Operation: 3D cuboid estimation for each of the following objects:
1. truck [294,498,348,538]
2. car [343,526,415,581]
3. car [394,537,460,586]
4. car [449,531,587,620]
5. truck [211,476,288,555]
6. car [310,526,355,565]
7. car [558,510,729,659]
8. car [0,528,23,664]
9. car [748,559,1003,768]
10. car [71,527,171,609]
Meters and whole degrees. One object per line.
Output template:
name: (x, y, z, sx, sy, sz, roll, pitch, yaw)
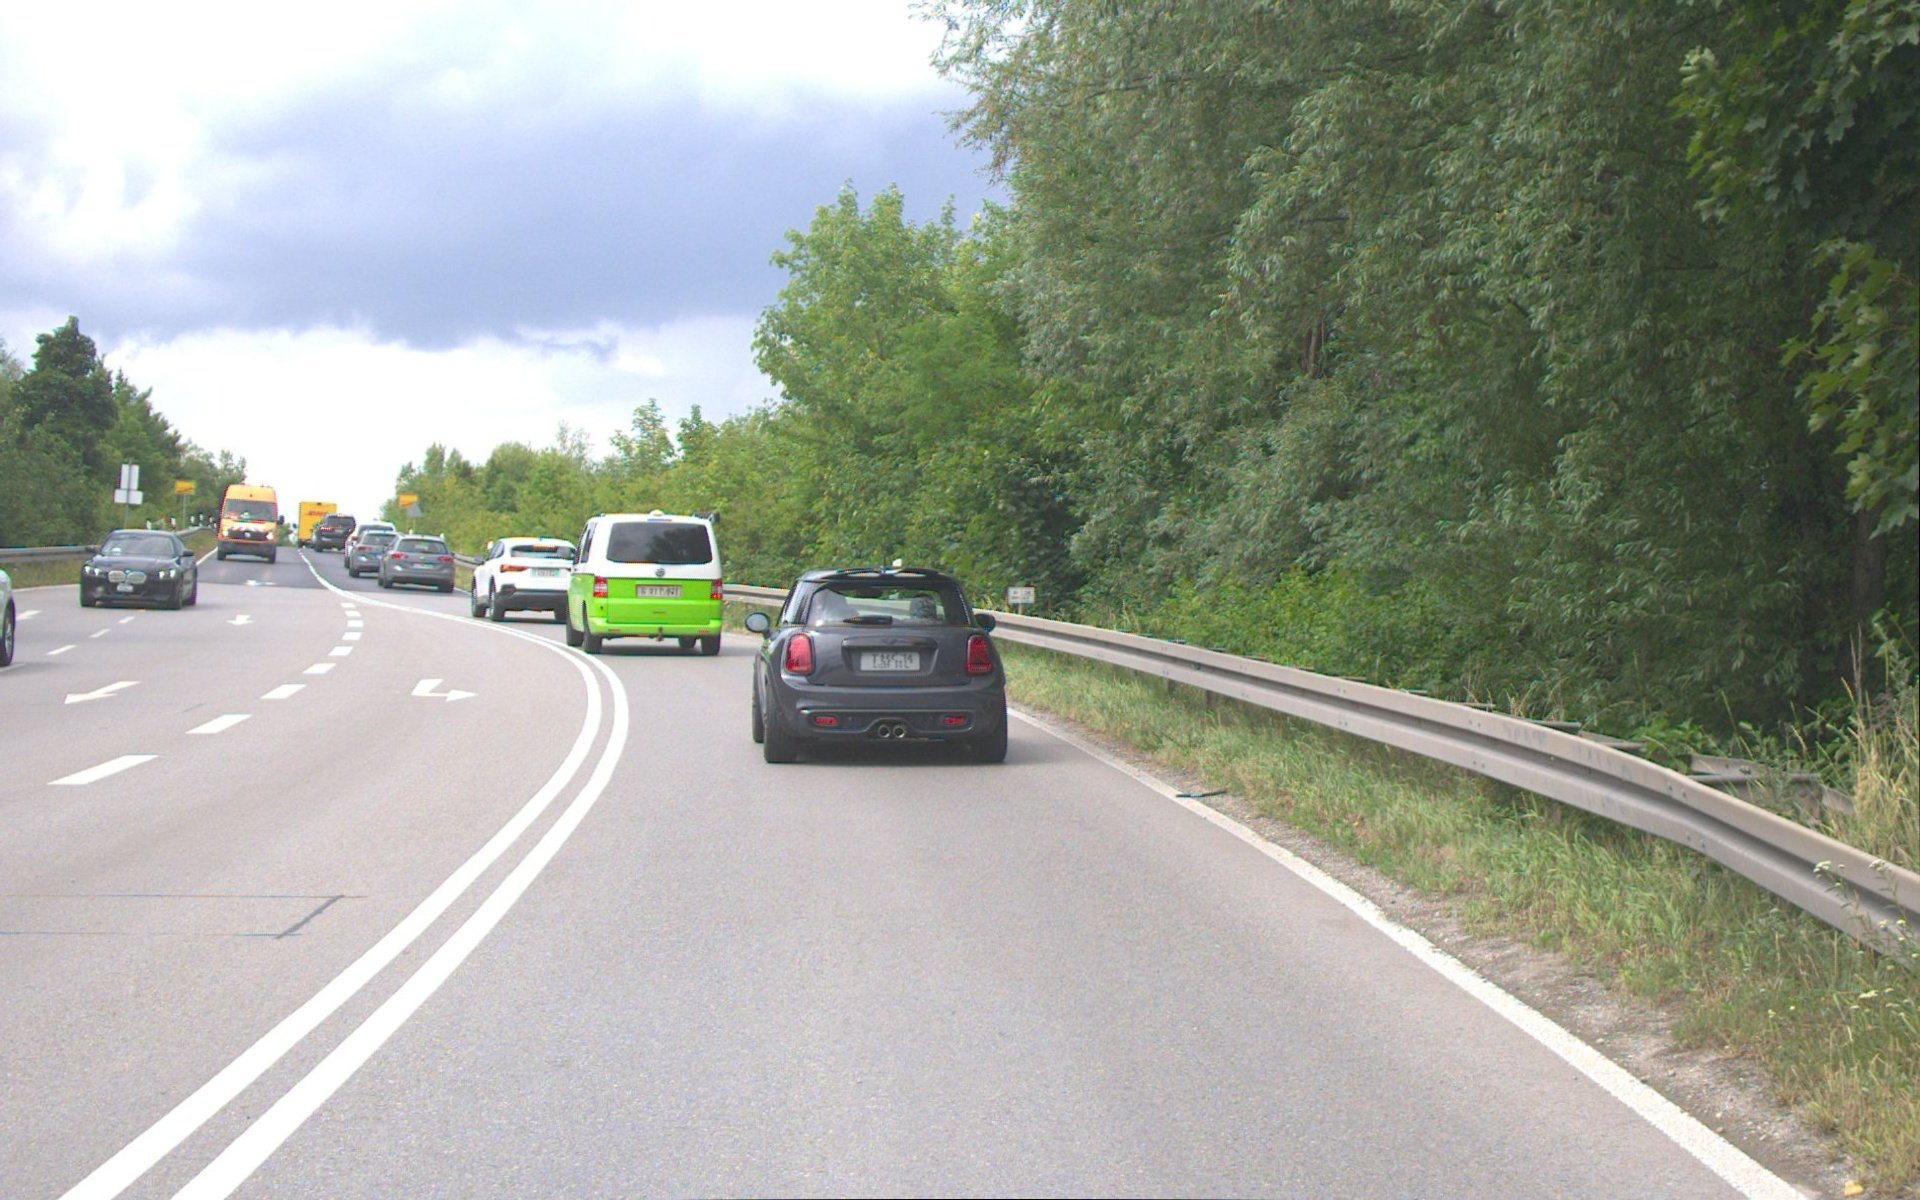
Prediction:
truck: (-39.340, -5.045, 211.915, 2.909, 2.364, 10.455, 1, 1, -9)
car: (-17.698, -1.410, 104.651, 1.879, 1.612, 4.001, 0, 1, -14)
car: (-14.006, -1.019, 90.370, 1.694, 1.218, 4.001, 0, 2, -9)
car: (-8.280, -0.482, 64.101, 1.987, 1.613, 4.155, 0, 1, -15)
truck: (-24.597, -2.948, 119.232, 2.315, 2.592, 6.025, 1, 1, -9)
car: (-29.270, -2.537, 160.305, 1.993, 1.792, 4.001, 1, 1, -11)
car: (-4.522, -0.242, 48.611, 2.022, 2.006, 4.001, 0, 1, -11)
car: (-12.390, -0.038, 40.720, 1.857, 1.637, 4.738, 0, 1, -7)
car: (-0.712, 0.419, 25.984, 1.732, 1.451, 4.001, 0, 1, -4)
car: (-16.131, -0.642, 65.979, 1.717, 1.493, 4.550, 0, 2, -15)
